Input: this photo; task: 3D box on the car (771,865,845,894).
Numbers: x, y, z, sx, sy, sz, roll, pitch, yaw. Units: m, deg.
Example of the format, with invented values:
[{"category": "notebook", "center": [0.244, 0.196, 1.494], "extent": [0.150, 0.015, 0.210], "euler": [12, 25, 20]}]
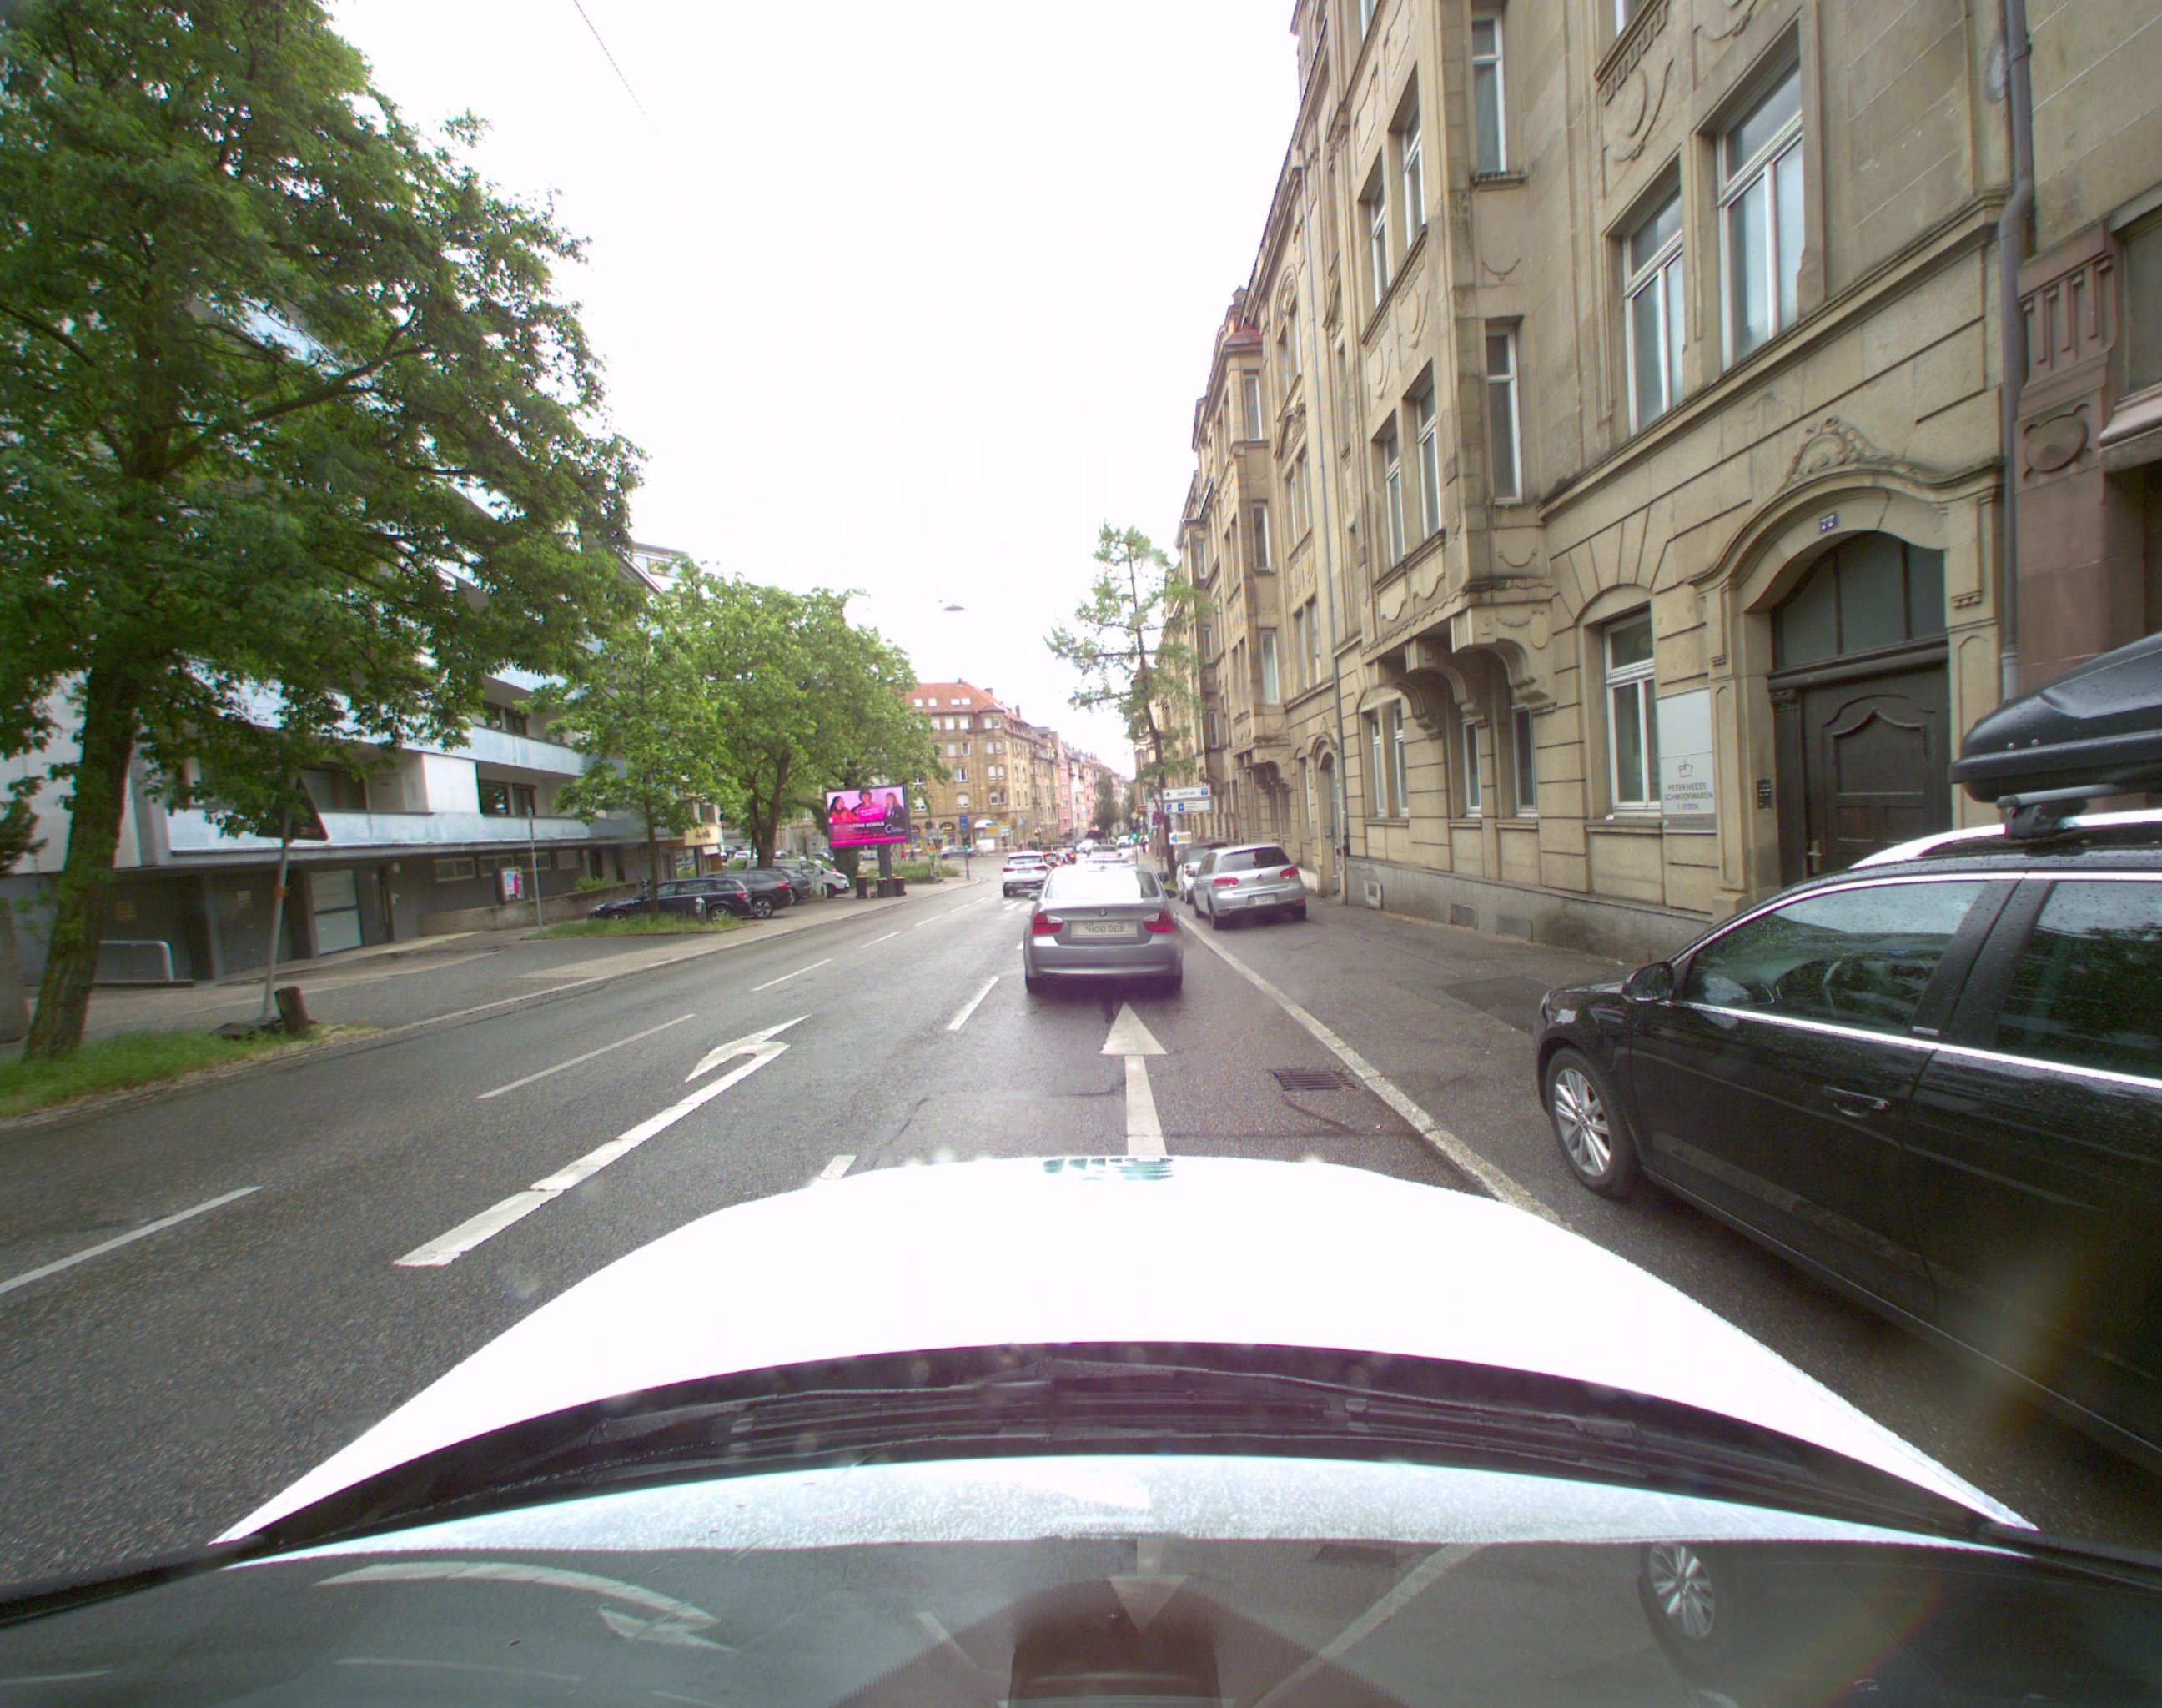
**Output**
[{"category": "car", "center": [-15.927, 1.457, 47.621], "extent": [3.985, 1.450, 1.758], "euler": [-3, 0, -19]}]

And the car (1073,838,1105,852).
[{"category": "car", "center": [0.991, -1.101, 97.094], "extent": [1.974, 1.578, 4.025], "euler": [-1, -1, 34]}]

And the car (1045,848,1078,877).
[{"category": "car", "center": [-1.177, 0.512, 51.752], "extent": [1.752, 1.707, 4.003], "euler": [-2, 0, 3]}]

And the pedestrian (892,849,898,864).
[{"category": "pedestrian", "center": [-19.919, 0.302, 87.146], "extent": [0.587, 1.634, 0.390], "euler": [0, -1, 1]}]

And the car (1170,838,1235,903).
[{"category": "car", "center": [3.346, 0.421, 22.818], "extent": [1.295, 1.543, 2.977], "euler": [-7, 0, 1]}]

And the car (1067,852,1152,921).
[{"category": "car", "center": [0.708, 0.684, 19.326], "extent": [1.752, 1.383, 4.003], "euler": [-2, 0, 3]}]

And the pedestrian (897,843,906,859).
[{"category": "pedestrian", "center": [-18.815, -0.331, 85.371], "extent": [0.532, 1.577, 0.723], "euler": [-3, 0, 23]}]

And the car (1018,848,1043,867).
[{"category": "car", "center": [-4.232, 0.303, 68.597], "extent": [1.709, 1.450, 3.743], "euler": [-3, 0, 1]}]

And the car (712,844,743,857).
[{"category": "car", "center": [-47.353, -0.411, 109.006], "extent": [3.949, 1.689, 1.738], "euler": [-1, -1, 29]}]

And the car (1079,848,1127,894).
[{"category": "car", "center": [0.849, 0.570, 29.669], "extent": [1.588, 1.464, 4.003], "euler": [-3, 0, 3]}]

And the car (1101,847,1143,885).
[{"category": "car", "center": [1.868, 0.512, 38.034], "extent": [1.753, 1.567, 4.001], "euler": [-2, 1, 1]}]

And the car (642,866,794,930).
[{"category": "car", "center": [-12.007, 1.416, 27.246], "extent": [4.382, 1.672, 1.842], "euler": [-4, 0, -21]}]

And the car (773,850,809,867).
[{"category": "car", "center": [-36.809, 0.519, 103.441], "extent": [4.238, 2.101, 2.013], "euler": [0, 2, 30]}]

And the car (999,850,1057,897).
[{"category": "car", "center": [-2.009, 0.706, 31.893], "extent": [1.861, 1.625, 4.001], "euler": [-2, 0, 1]}]

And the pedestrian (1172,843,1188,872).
[{"category": "pedestrian", "center": [5.371, 0.170, 44.118], "extent": [0.629, 1.508, 0.693], "euler": [-7, 0, 1]}]

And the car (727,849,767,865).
[{"category": "car", "center": [-38.510, 0.347, 93.928], "extent": [4.195, 1.726, 2.013], "euler": [-2, 3, 31]}]

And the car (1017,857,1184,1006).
[{"category": "car", "center": [0.290, 0.785, 9.936], "extent": [1.617, 1.383, 3.618], "euler": [-2, 0, 3]}]

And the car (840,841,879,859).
[{"category": "car", "center": [-26.534, -0.472, 97.517], "extent": [4.238, 2.101, 2.013], "euler": [0, 2, 30]}]

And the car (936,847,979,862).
[{"category": "car", "center": [-14.168, 0.060, 93.265], "extent": [4.647, 1.578, 1.990], "euler": [0, -1, -15]}]

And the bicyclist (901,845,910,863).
[{"category": "bicyclist", "center": [-18.365, -0.037, 85.247], "extent": [0.785, 1.820, 0.765], "euler": [-4, 0, -20]}]

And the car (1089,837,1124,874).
[{"category": "car", "center": [1.535, 0.110, 49.535], "extent": [1.986, 2.106, 4.002], "euler": [-2, 0, 2]}]

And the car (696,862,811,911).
[{"category": "car", "center": [-13.825, 1.348, 34.661], "extent": [4.370, 1.784, 1.927], "euler": [-3, 0, -19]}]

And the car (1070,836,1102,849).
[{"category": "car", "center": [0.819, -1.805, 130.082], "extent": [5.158, 2.014, 2.699], "euler": [0, -1, 1]}]

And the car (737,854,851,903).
[{"category": "car", "center": [-14.014, 1.167, 39.997], "extent": [5.076, 2.105, 1.979], "euler": [-3, 0, -19]}]

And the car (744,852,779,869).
[{"category": "car", "center": [-41.449, 0.840, 105.717], "extent": [4.238, 2.101, 2.013], "euler": [0, 2, 30]}]

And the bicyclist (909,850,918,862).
[{"category": "bicyclist", "center": [-17.434, 0.198, 84.866], "extent": [0.564, 1.273, 0.693], "euler": [-1, -1, 22]}]

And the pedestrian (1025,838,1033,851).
[{"category": "pedestrian", "center": [-6.477, -1.175, 101.244], "extent": [0.727, 1.577, 0.530], "euler": [-3, 0, 10]}]

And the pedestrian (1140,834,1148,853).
[{"category": "pedestrian", "center": [6.326, -1.034, 81.860], "extent": [0.740, 1.910, 0.659], "euler": [-3, 0, 1]}]

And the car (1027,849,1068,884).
[{"category": "car", "center": [-1.722, 0.634, 43.450], "extent": [1.752, 1.707, 4.003], "euler": [-2, 0, 3]}]

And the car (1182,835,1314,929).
[{"category": "car", "center": [3.195, 0.485, 16.353], "extent": [1.753, 1.451, 4.001], "euler": [-7, 0, 1]}]

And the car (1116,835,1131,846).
[{"category": "car", "center": [6.263, -1.936, 119.670], "extent": [1.983, 1.578, 4.008], "euler": [-1, -1, 7]}]

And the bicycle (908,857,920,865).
[{"category": "bicycle", "center": [-17.408, 0.714, 84.971], "extent": [0.569, 0.858, 1.528], "euler": [-1, -1, 14]}]

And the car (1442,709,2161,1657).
[{"category": "car", "center": [2.688, 0.473, 1.993], "extent": [1.753, 1.651, 4.101], "euler": [-7, 0, 2]}]

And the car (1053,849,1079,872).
[{"category": "car", "center": [-1.175, 0.488, 64.428], "extent": [1.752, 1.707, 4.003], "euler": [-2, 0, 3]}]

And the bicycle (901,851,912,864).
[{"category": "bicycle", "center": [-18.249, 0.340, 85.051], "extent": [0.669, 1.320, 2.273], "euler": [-5, 0, -2]}]

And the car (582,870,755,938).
[{"category": "car", "center": [-12.250, 1.448, 24.561], "extent": [4.373, 1.574, 1.930], "euler": [-4, 0, -21]}]

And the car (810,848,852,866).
[{"category": "car", "center": [-26.669, 0.305, 86.929], "extent": [4.194, 1.726, 2.013], "euler": [-1, 2, 32]}]
